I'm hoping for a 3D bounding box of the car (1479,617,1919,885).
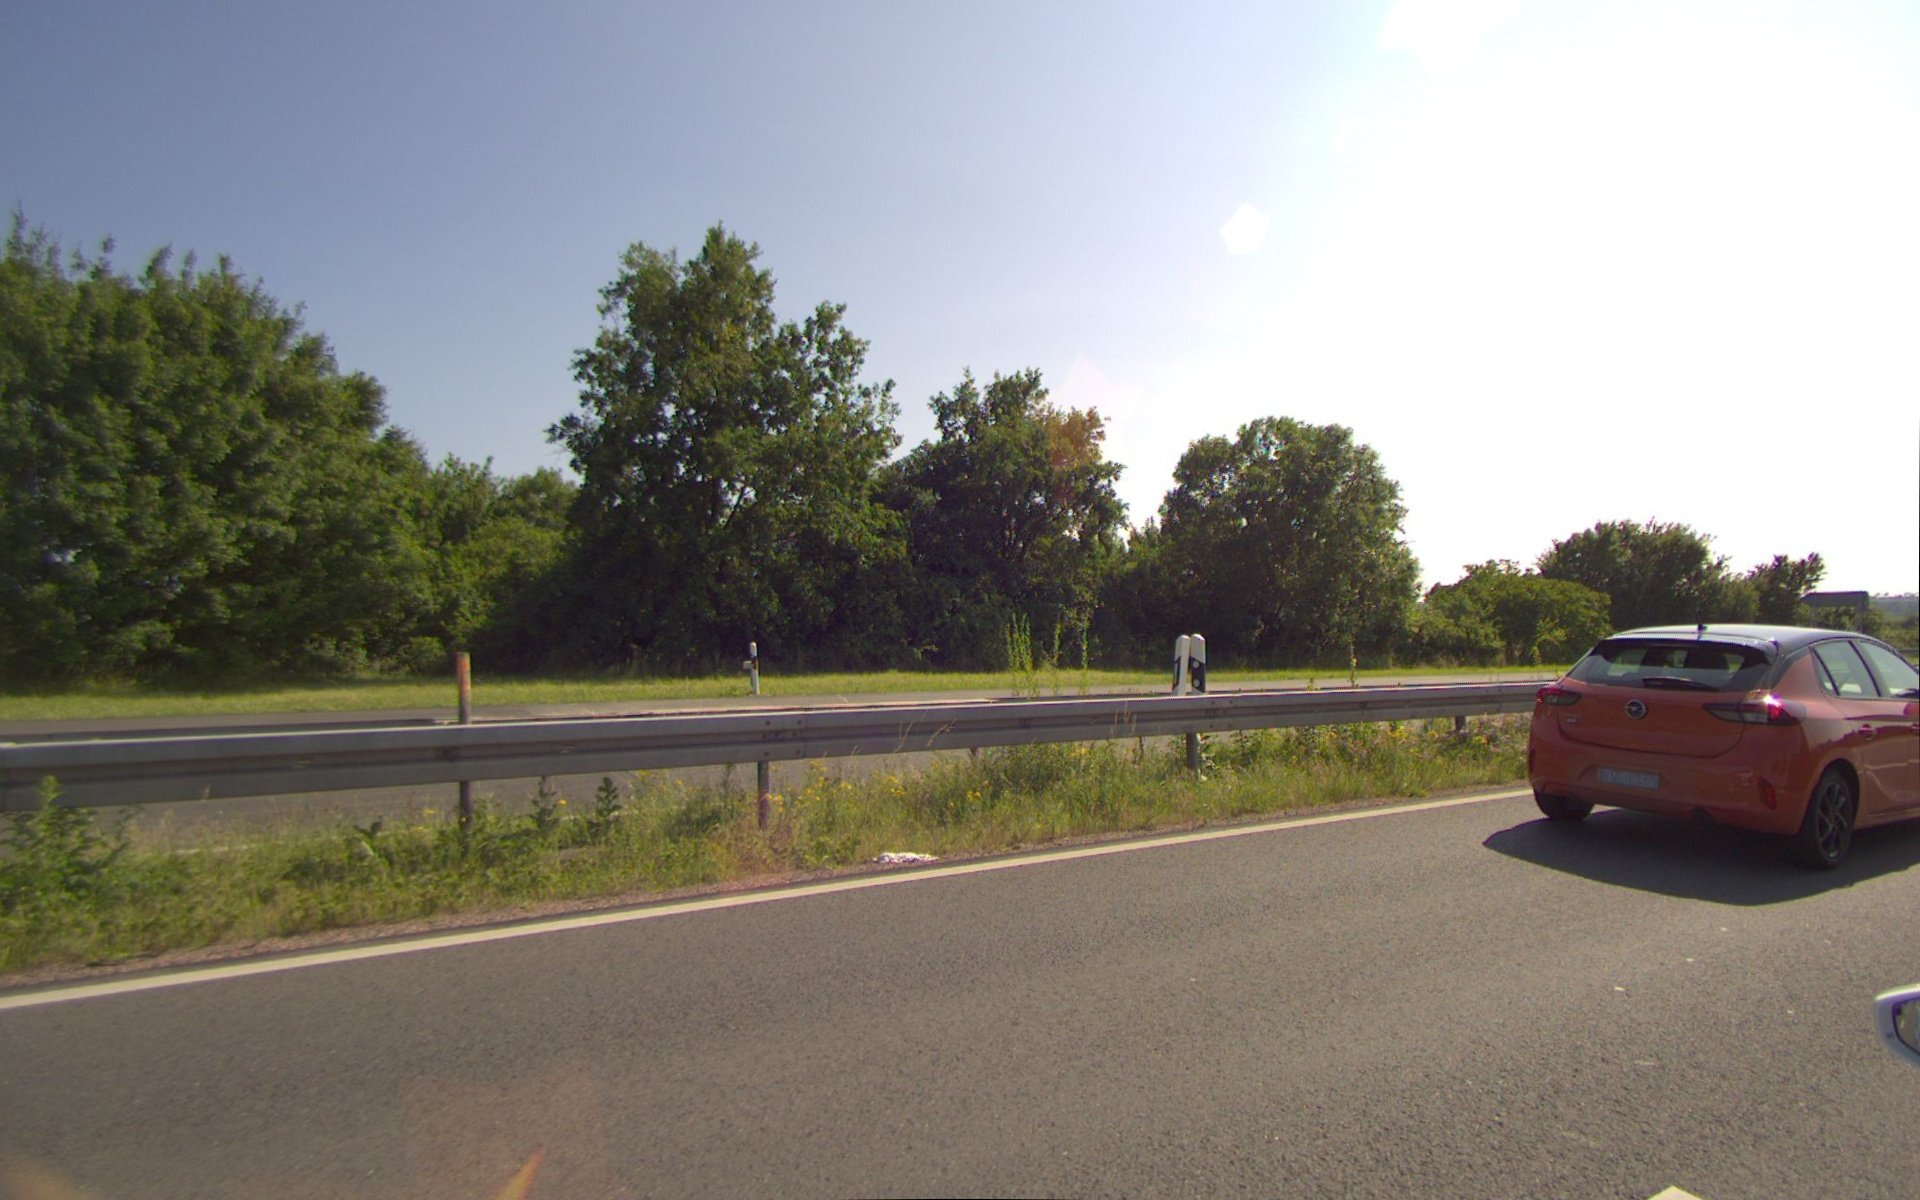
[{"bbox_3d":[5.875,0.894,7.325,4.361,1.456,1.700,2,-2,-31],"label":"car"}]
